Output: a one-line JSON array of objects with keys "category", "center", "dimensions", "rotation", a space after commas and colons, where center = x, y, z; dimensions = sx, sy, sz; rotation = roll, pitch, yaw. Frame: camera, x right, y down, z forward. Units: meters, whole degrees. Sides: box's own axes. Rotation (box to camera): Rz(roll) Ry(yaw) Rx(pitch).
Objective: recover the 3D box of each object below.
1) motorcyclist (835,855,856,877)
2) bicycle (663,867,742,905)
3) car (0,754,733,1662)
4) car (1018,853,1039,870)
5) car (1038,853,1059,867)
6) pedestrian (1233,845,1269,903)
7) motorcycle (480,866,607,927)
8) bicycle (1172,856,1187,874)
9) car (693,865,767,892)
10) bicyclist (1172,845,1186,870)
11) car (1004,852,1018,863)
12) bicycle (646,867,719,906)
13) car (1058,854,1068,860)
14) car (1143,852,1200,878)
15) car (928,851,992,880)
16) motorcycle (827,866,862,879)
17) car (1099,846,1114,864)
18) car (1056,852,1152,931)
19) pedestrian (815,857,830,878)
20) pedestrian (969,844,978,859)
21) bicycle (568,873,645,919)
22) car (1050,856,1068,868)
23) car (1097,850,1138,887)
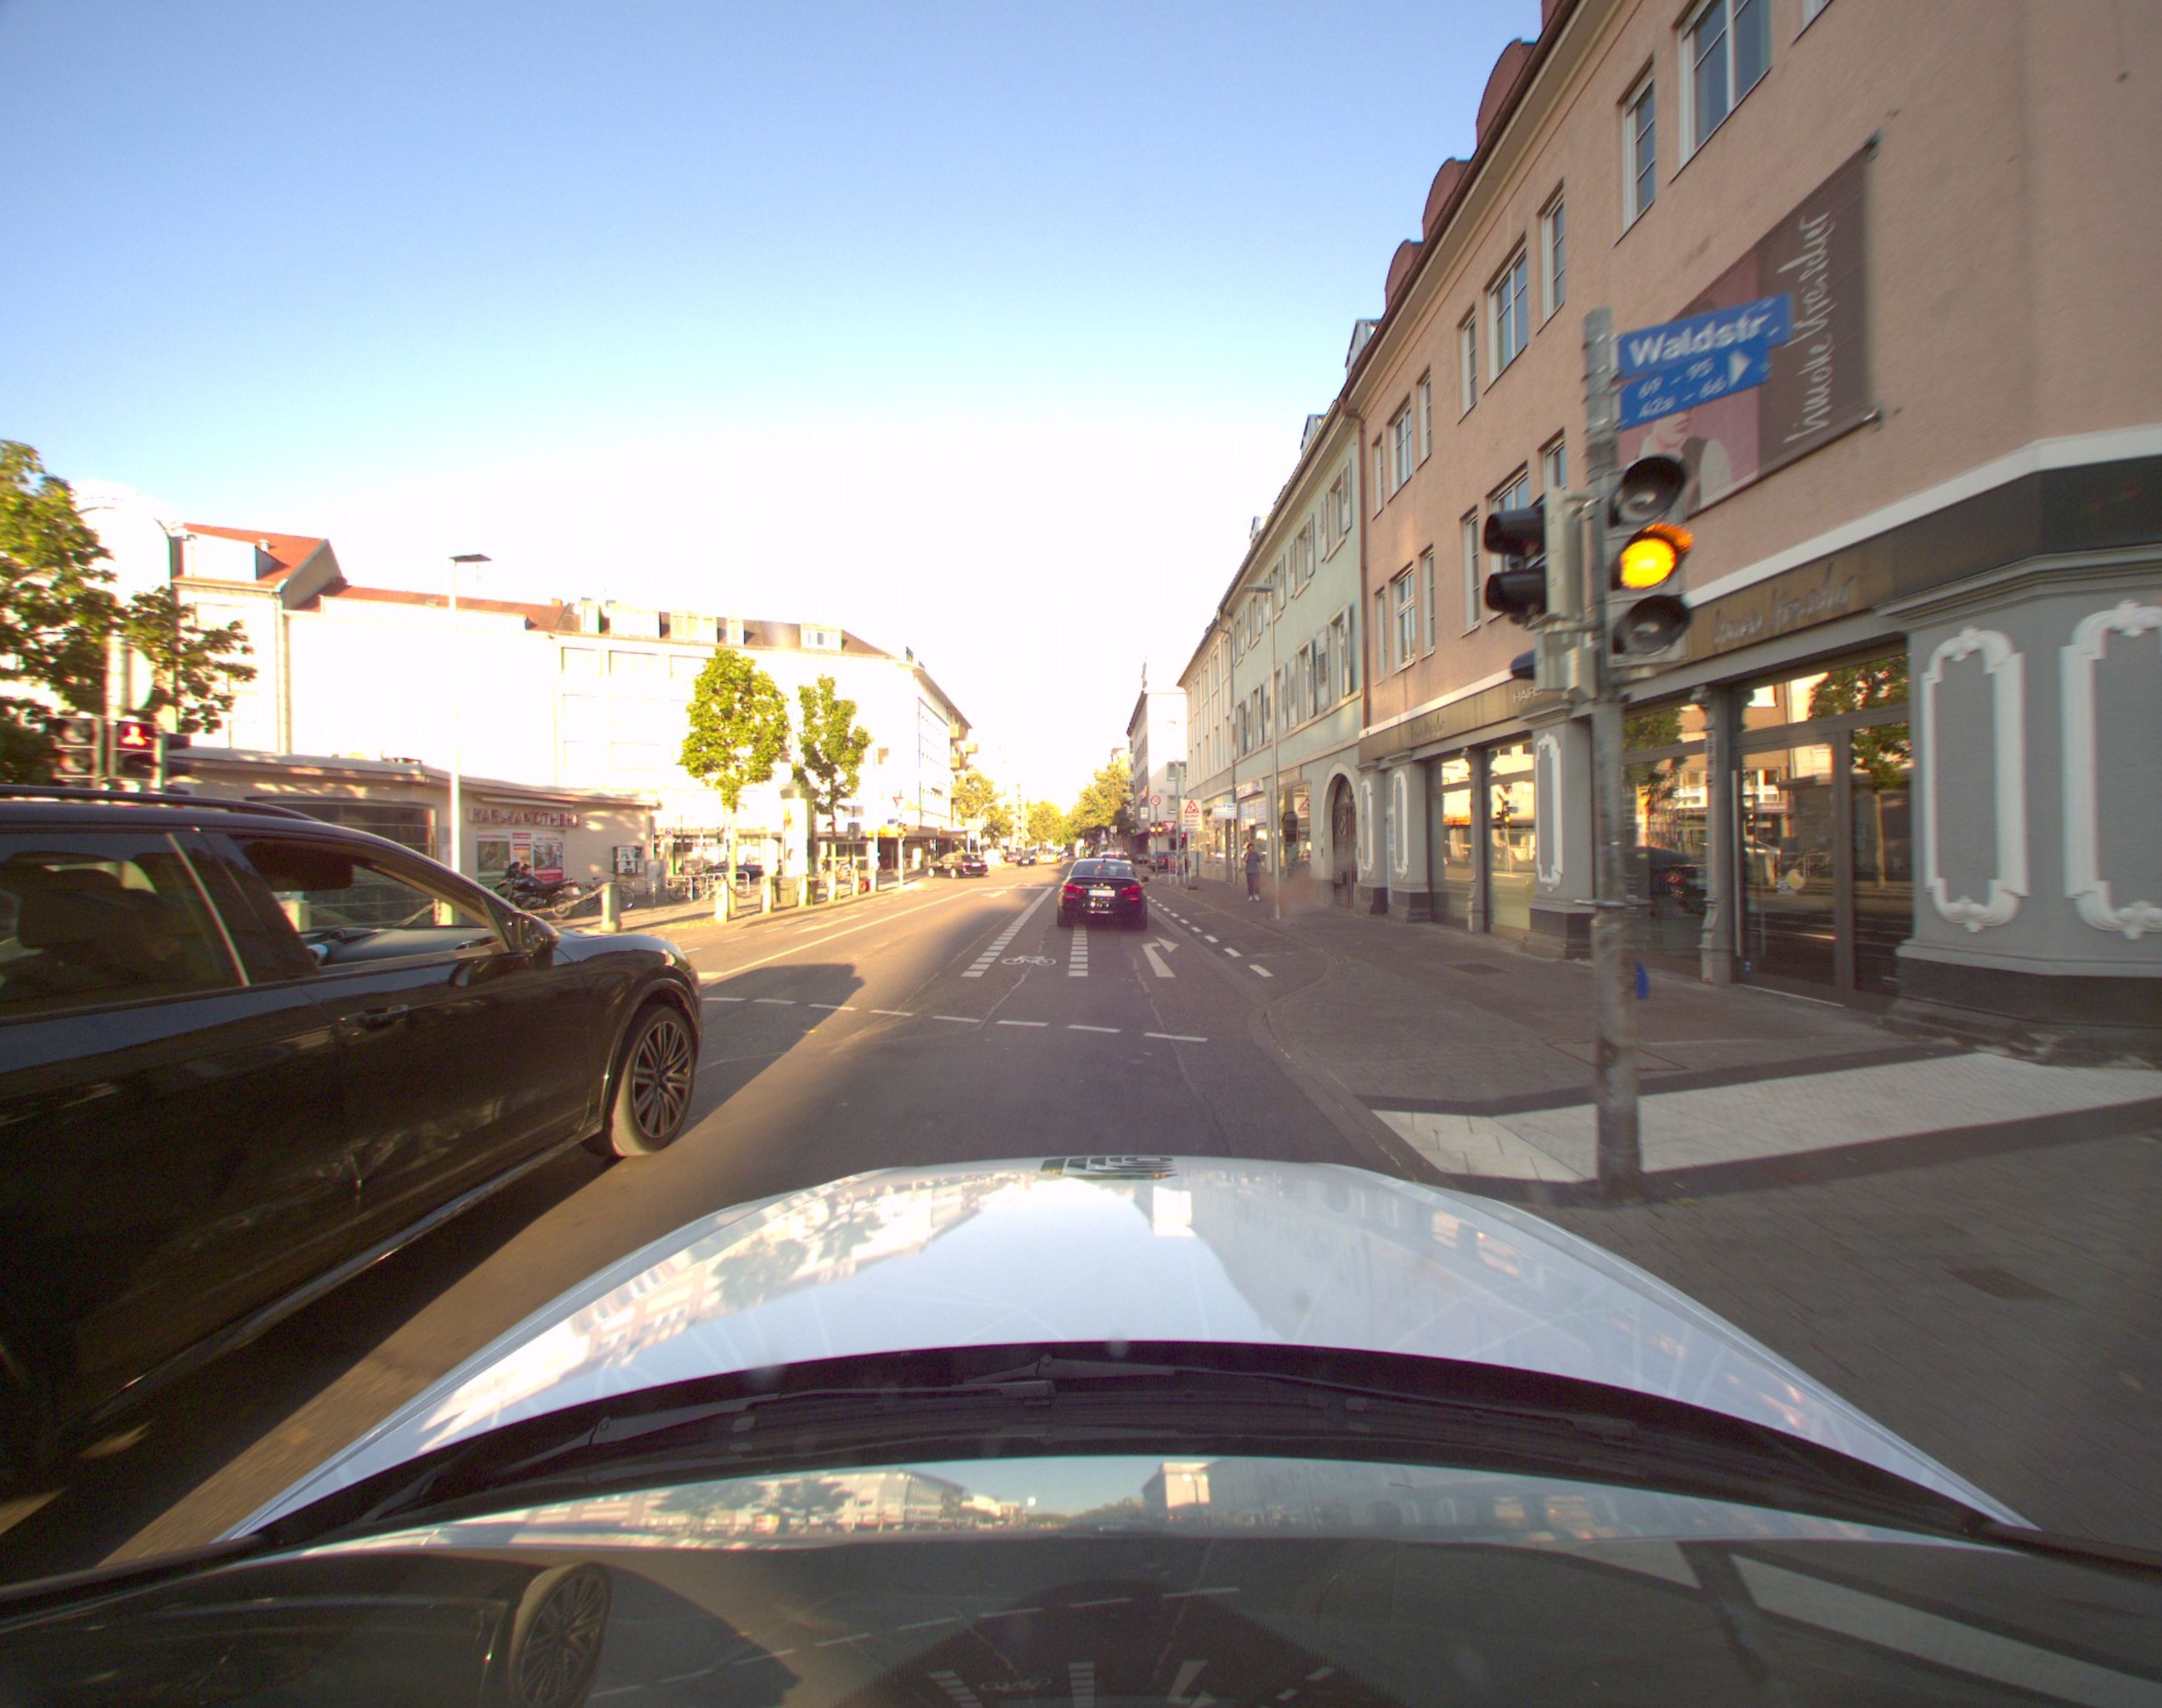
[{"category": "motorcyclist", "center": [-14.797, 0.750, 51.129], "dimensions": [0.985, 1.319, 0.770], "rotation": [-1, 0, 10]}, {"category": "bicycle", "center": [-13.687, 1.154, 29.471], "dimensions": [2.435, 1.256, 0.787], "rotation": [-2, 0, 1]}, {"category": "car", "center": [-3.033, 0.689, 2.474], "dimensions": [1.942, 1.714, 4.560], "rotation": [-2, 0, 0]}, {"category": "car", "center": [-5.257, 0.705, 81.091], "dimensions": [1.991, 1.618, 3.992], "rotation": [-1, 0, -6]}, {"category": "car", "center": [-3.488, 0.657, 86.588], "dimensions": [1.991, 1.442, 3.992], "rotation": [-1, 0, -6]}, {"category": "pedestrian", "center": [4.988, 0.575, 23.895], "dimensions": [0.821, 1.642, 0.871], "rotation": [-1, 0, -2]}, {"category": "motorcycle", "center": [-13.443, 1.051, 20.417], "dimensions": [2.572, 1.429, 0.868], "rotation": [-2, 0, 1]}, {"category": "bicycle", "center": [6.028, 0.665, 50.061], "dimensions": [0.688, 1.107, 1.896], "rotation": [-1, 0, 1]}, {"category": "car", "center": [-22.076, 1.520, 51.327], "dimensions": [3.995, 1.486, 1.989], "rotation": [-1, 0, -16]}, {"category": "bicyclist", "center": [6.019, 0.213, 49.973], "dimensions": [0.719, 1.507, 0.900], "rotation": [-1, 0, 1]}, {"category": "car", "center": [-9.300, 0.440, 108.024], "dimensions": [1.731, 1.461, 3.992], "rotation": [-1, 0, -6]}, {"category": "bicycle", "center": [-13.789, 1.113, 28.212], "dimensions": [1.998, 1.256, 0.950], "rotation": [-2, 0, 1]}, {"category": "car", "center": [-3.831, 0.665, 173.741], "dimensions": [1.731, 1.293, 3.992], "rotation": [-1, 0, -6]}, {"category": "car", "center": [6.112, 0.717, 54.562], "dimensions": [1.815, 1.576, 4.126], "rotation": [-1, 0, 40]}, {"category": "car", "center": [-7.125, 0.627, 47.670], "dimensions": [1.887, 1.595, 4.400], "rotation": [-1, 0, -36]}, {"category": "motorcycle", "center": [-14.811, 1.171, 51.093], "dimensions": [2.012, 0.780, 0.666], "rotation": [-1, 0, 13]}, {"category": "car", "center": [2.778, 0.116, 89.833], "dimensions": [1.418, 1.855, 3.049], "rotation": [0, 0, -3]}, {"category": "car", "center": [0.422, 0.741, 18.305], "dimensions": [1.898, 1.540, 4.448], "rotation": [0, 0, -1]}, {"category": "pedestrian", "center": [-19.082, 0.969, 60.022], "dimensions": [0.950, 1.537, 0.901], "rotation": [-1, 0, -25]}, {"category": "pedestrian", "center": [-12.120, -0.275, 91.667], "dimensions": [0.821, 1.676, 0.871], "rotation": [-2, 0, -1]}, {"category": "bicycle", "center": [-13.758, 1.200, 23.626], "dimensions": [1.847, 1.256, 0.633], "rotation": [-2, 0, 1]}, {"category": "car", "center": [-2.556, 0.925, 93.358], "dimensions": [1.731, 1.293, 3.992], "rotation": [-1, 0, -6]}, {"category": "car", "center": [1.670, 0.625, 38.097], "dimensions": [1.826, 1.576, 4.101], "rotation": [-1, 0, 1]}]
